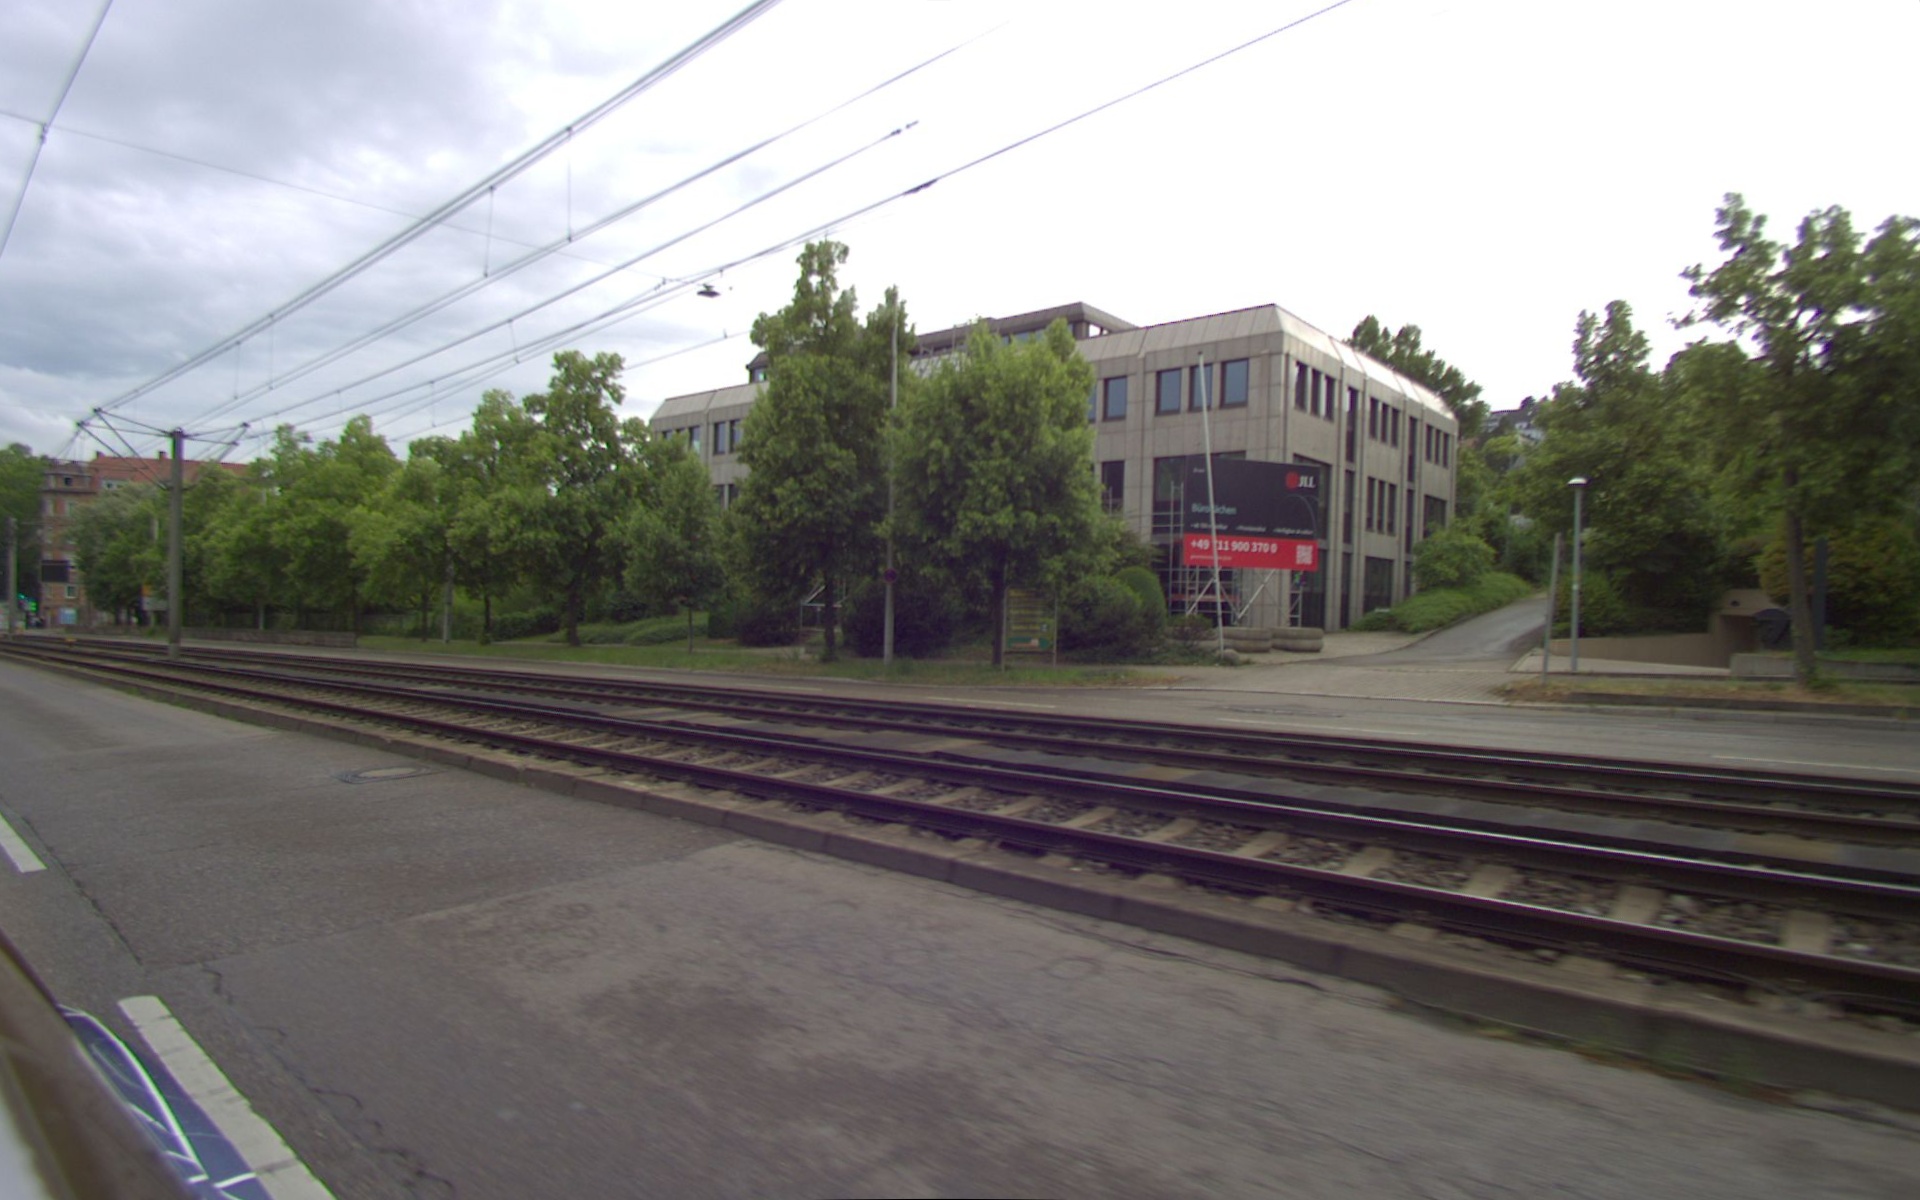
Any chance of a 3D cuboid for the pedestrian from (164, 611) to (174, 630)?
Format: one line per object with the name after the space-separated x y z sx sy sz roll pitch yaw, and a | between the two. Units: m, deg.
-77.239 2.001 98.801 0.653 1.917 0.590 -1 0 38 | pedestrian
